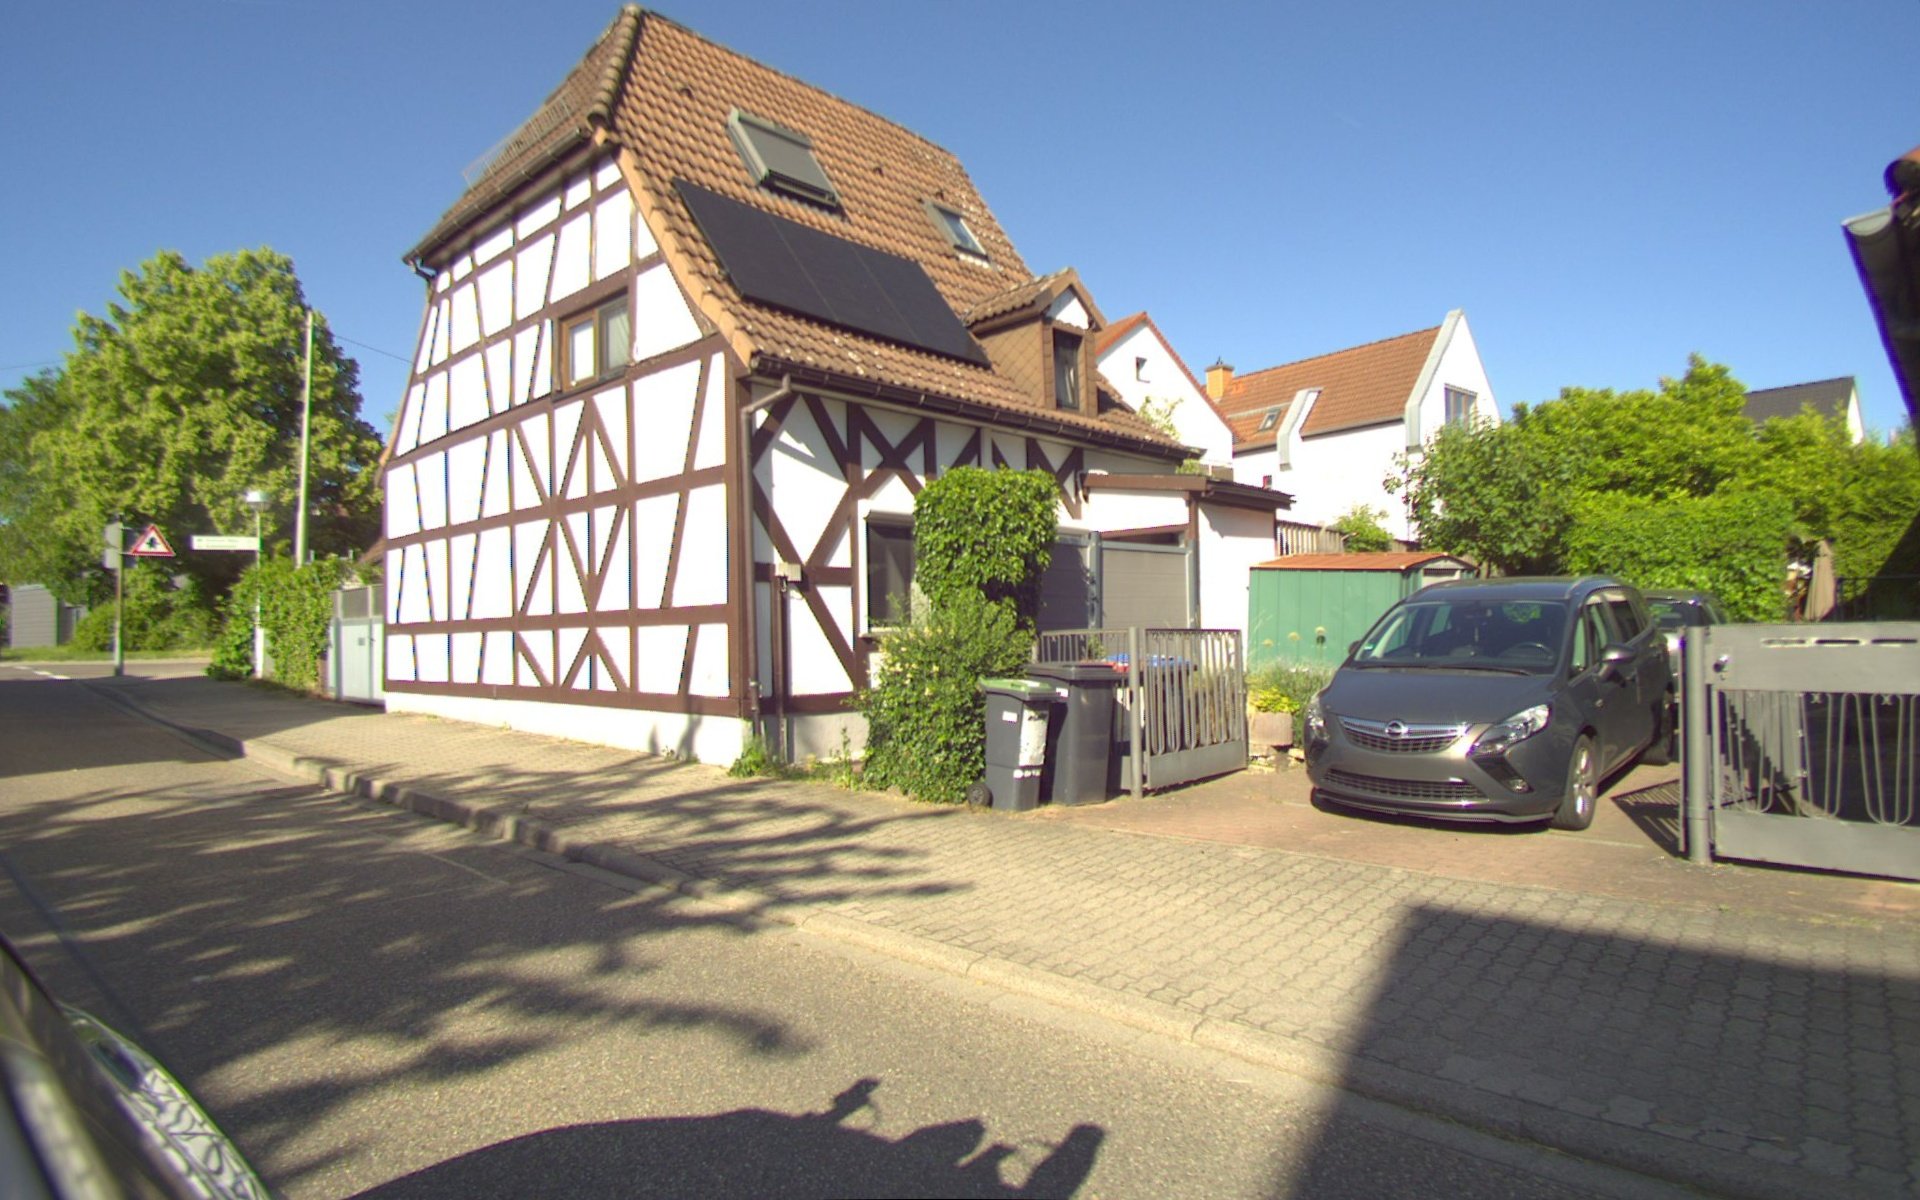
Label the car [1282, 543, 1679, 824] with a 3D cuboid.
[{"bbox_3d":[4.255,0.568,7.924,1.819,1.604,4.060,0,-3,42],"label":"car"}]

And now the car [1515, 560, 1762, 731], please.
[{"bbox_3d":[7.893,0.391,11.600,1.819,1.604,4.060,-1,1,42],"label":"car"}]

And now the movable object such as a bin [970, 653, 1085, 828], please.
[{"bbox_3d":[0.479,0.963,7.205,0.667,1.149,0.471,-1,-2,42],"label":"movable object such as a bin"}]

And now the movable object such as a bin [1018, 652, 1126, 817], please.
[{"bbox_3d":[0.841,0.977,7.610,0.667,1.149,0.471,-1,-2,42],"label":"movable object such as a bin"}]
